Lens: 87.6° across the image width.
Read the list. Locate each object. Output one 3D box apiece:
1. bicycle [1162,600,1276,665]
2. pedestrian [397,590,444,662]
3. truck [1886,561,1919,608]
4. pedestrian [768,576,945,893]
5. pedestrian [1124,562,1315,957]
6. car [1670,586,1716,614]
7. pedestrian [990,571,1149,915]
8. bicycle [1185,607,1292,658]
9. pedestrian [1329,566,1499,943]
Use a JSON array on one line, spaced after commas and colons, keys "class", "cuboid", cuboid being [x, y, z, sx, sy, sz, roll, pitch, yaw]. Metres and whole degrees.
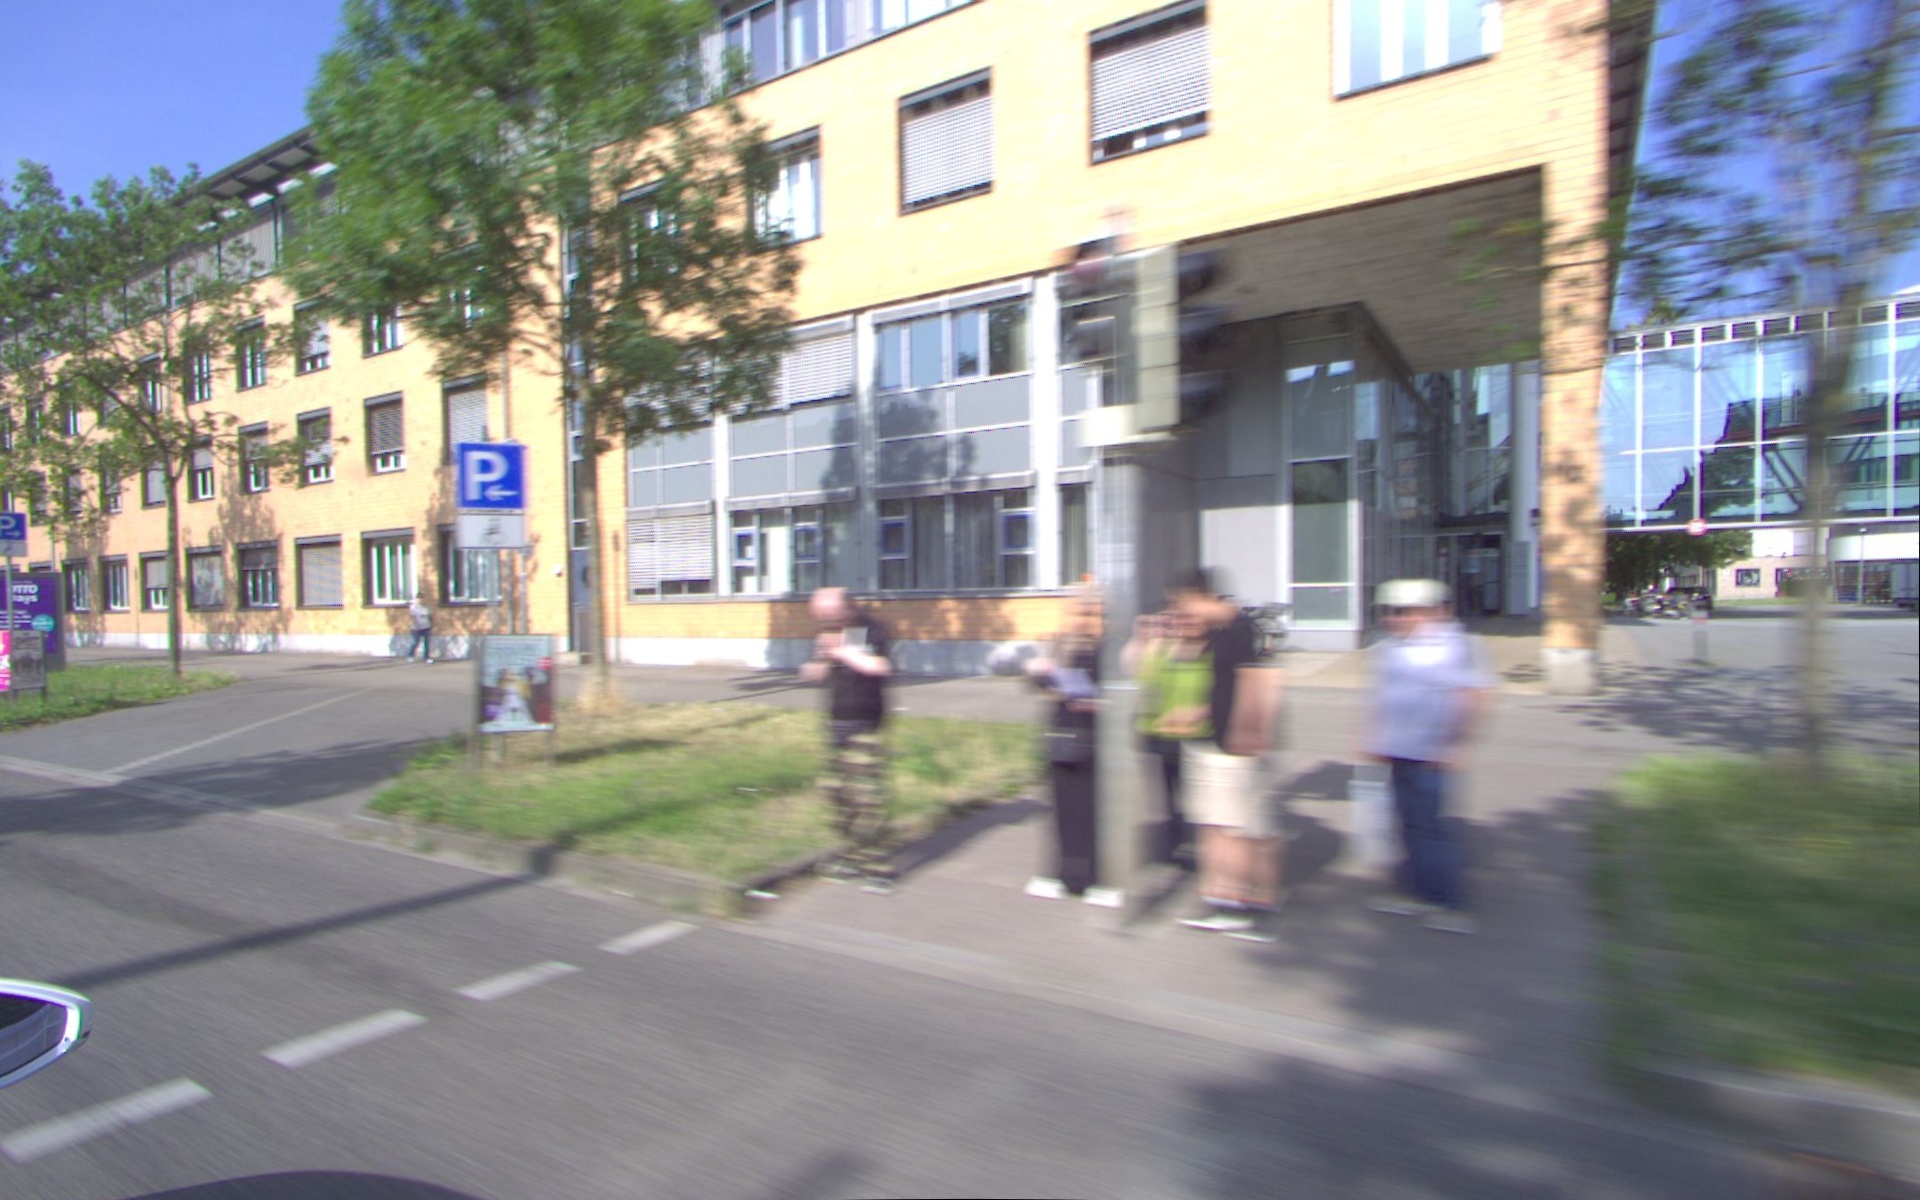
[{"class": "bicycle", "cuboid": [4.542, 0.560, 17.574, 1.811, 1.056, 0.649, -1, 3, 32]}, {"class": "pedestrian", "cuboid": [-12.853, 0.630, 23.863, 0.762, 1.677, 0.695, -1, -2, 32]}, {"class": "truck", "cuboid": [55.438, -0.838, 56.893, 5.914, 2.518, 2.057, 1, -2, -25]}, {"class": "pedestrian", "cuboid": [-0.579, 0.709, 5.731, 0.679, 1.669, 0.704, -1, 2, 30]}, {"class": "pedestrian", "cuboid": [1.231, 0.671, 4.687, 0.679, 1.669, 0.704, -1, 2, 30]}, {"class": "car", "cuboid": [42.967, 0.025, 58.778, 1.824, 1.503, 4.140, -1, -2, 32]}, {"class": "pedestrian", "cuboid": [0.589, 0.693, 5.263, 0.599, 1.669, 0.633, -1, 2, 28]}, {"class": "bicycle", "cuboid": [5.127, 0.595, 18.487, 1.811, 0.901, 0.526, -1, 0, 33]}, {"class": "pedestrian", "cuboid": [2.230, 0.680, 4.883, 0.679, 1.669, 0.704, -1, 2, 30]}]
